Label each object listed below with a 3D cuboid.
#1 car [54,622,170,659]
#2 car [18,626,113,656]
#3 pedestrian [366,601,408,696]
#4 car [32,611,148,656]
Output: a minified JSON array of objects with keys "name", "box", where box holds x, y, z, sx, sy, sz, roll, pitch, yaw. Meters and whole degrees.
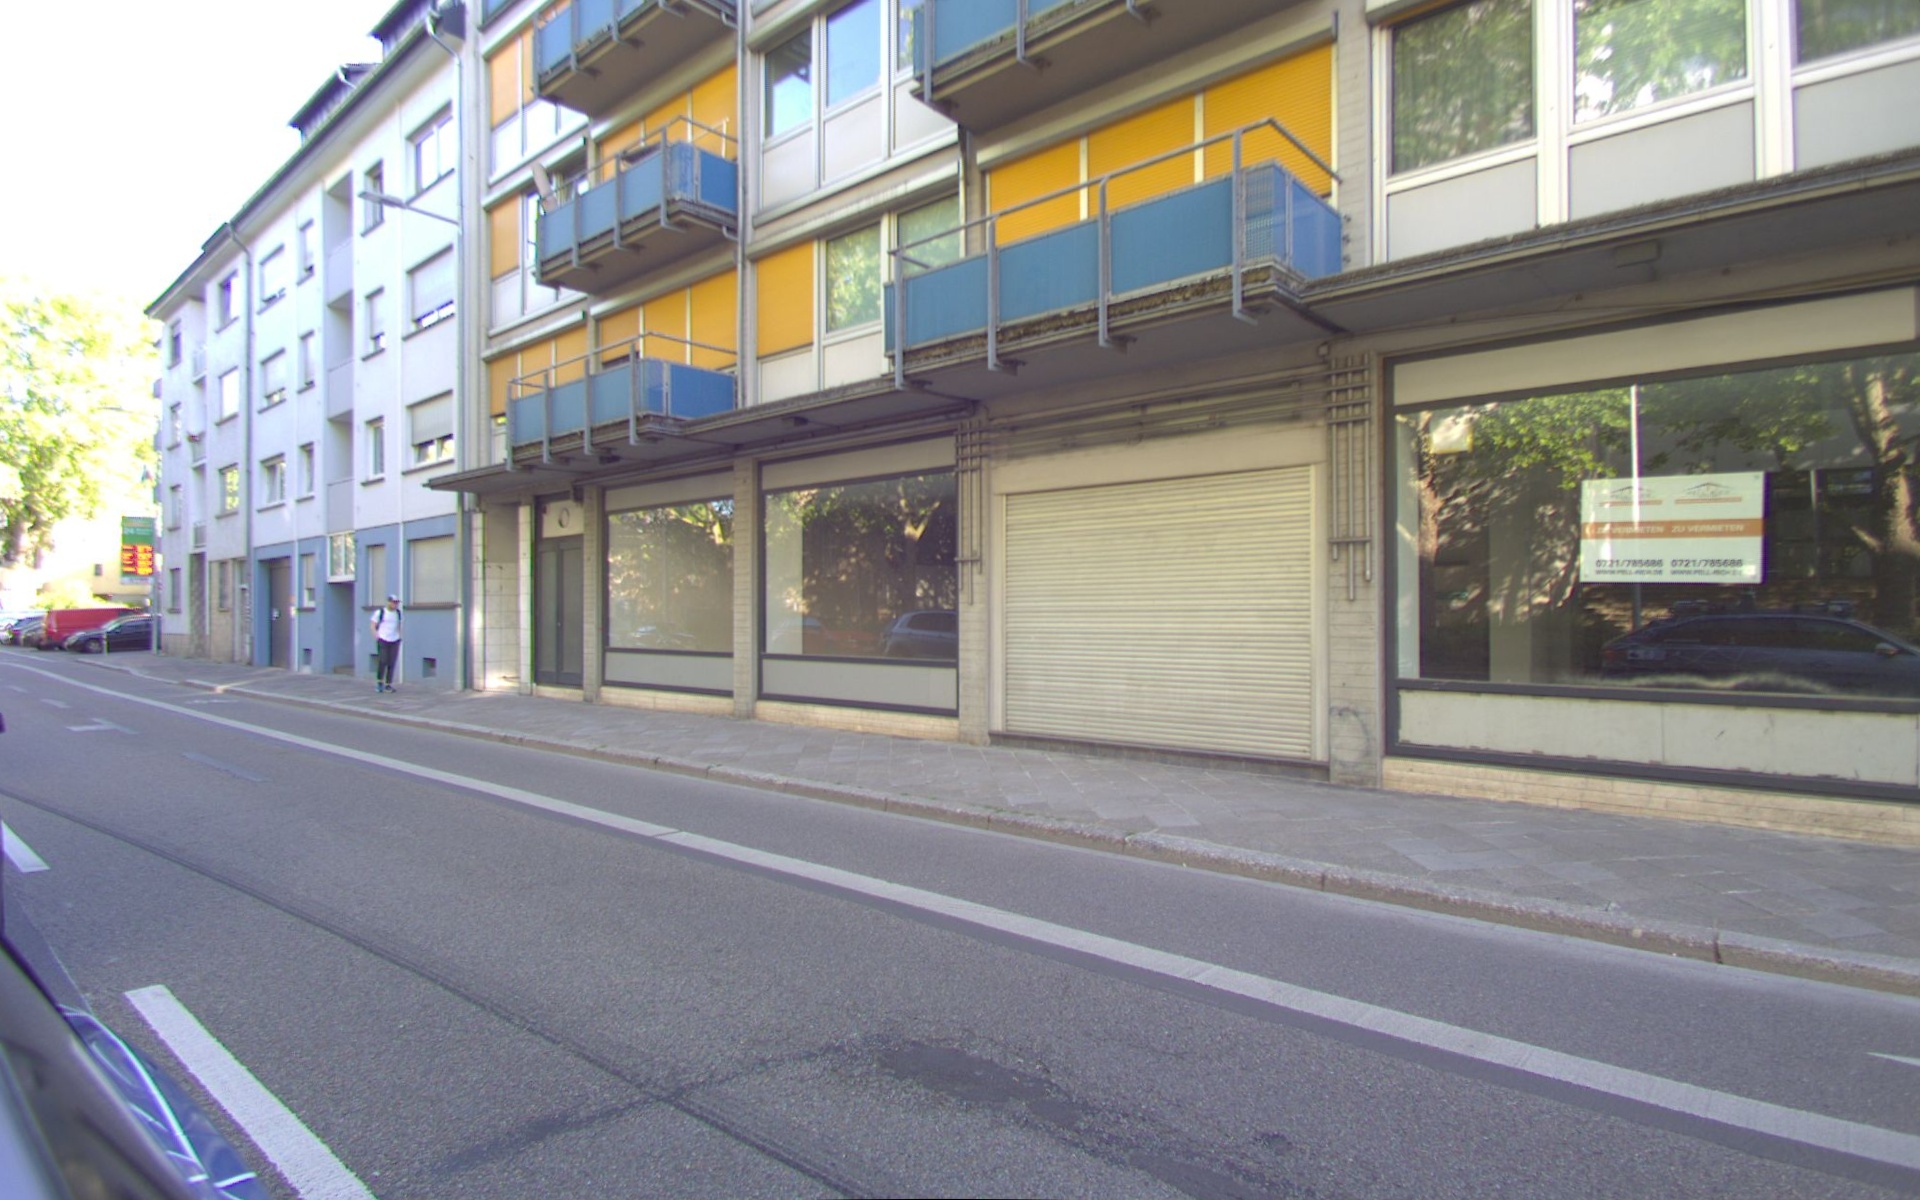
[{"name":"car","box":[-36.703,1.717,43.845,1.635,1.422,3.623,-1,0,41]},{"name":"car","box":[-43.014,1.941,48.691,1.294,1.258,3.283,-1,0,41]},{"name":"pedestrian","box":[-10.770,0.899,19.032,0.343,1.739,0.562,-1,0,41]},{"name":"car","box":[-40.672,1.529,47.367,1.635,1.937,3.878,-1,0,41]}]
